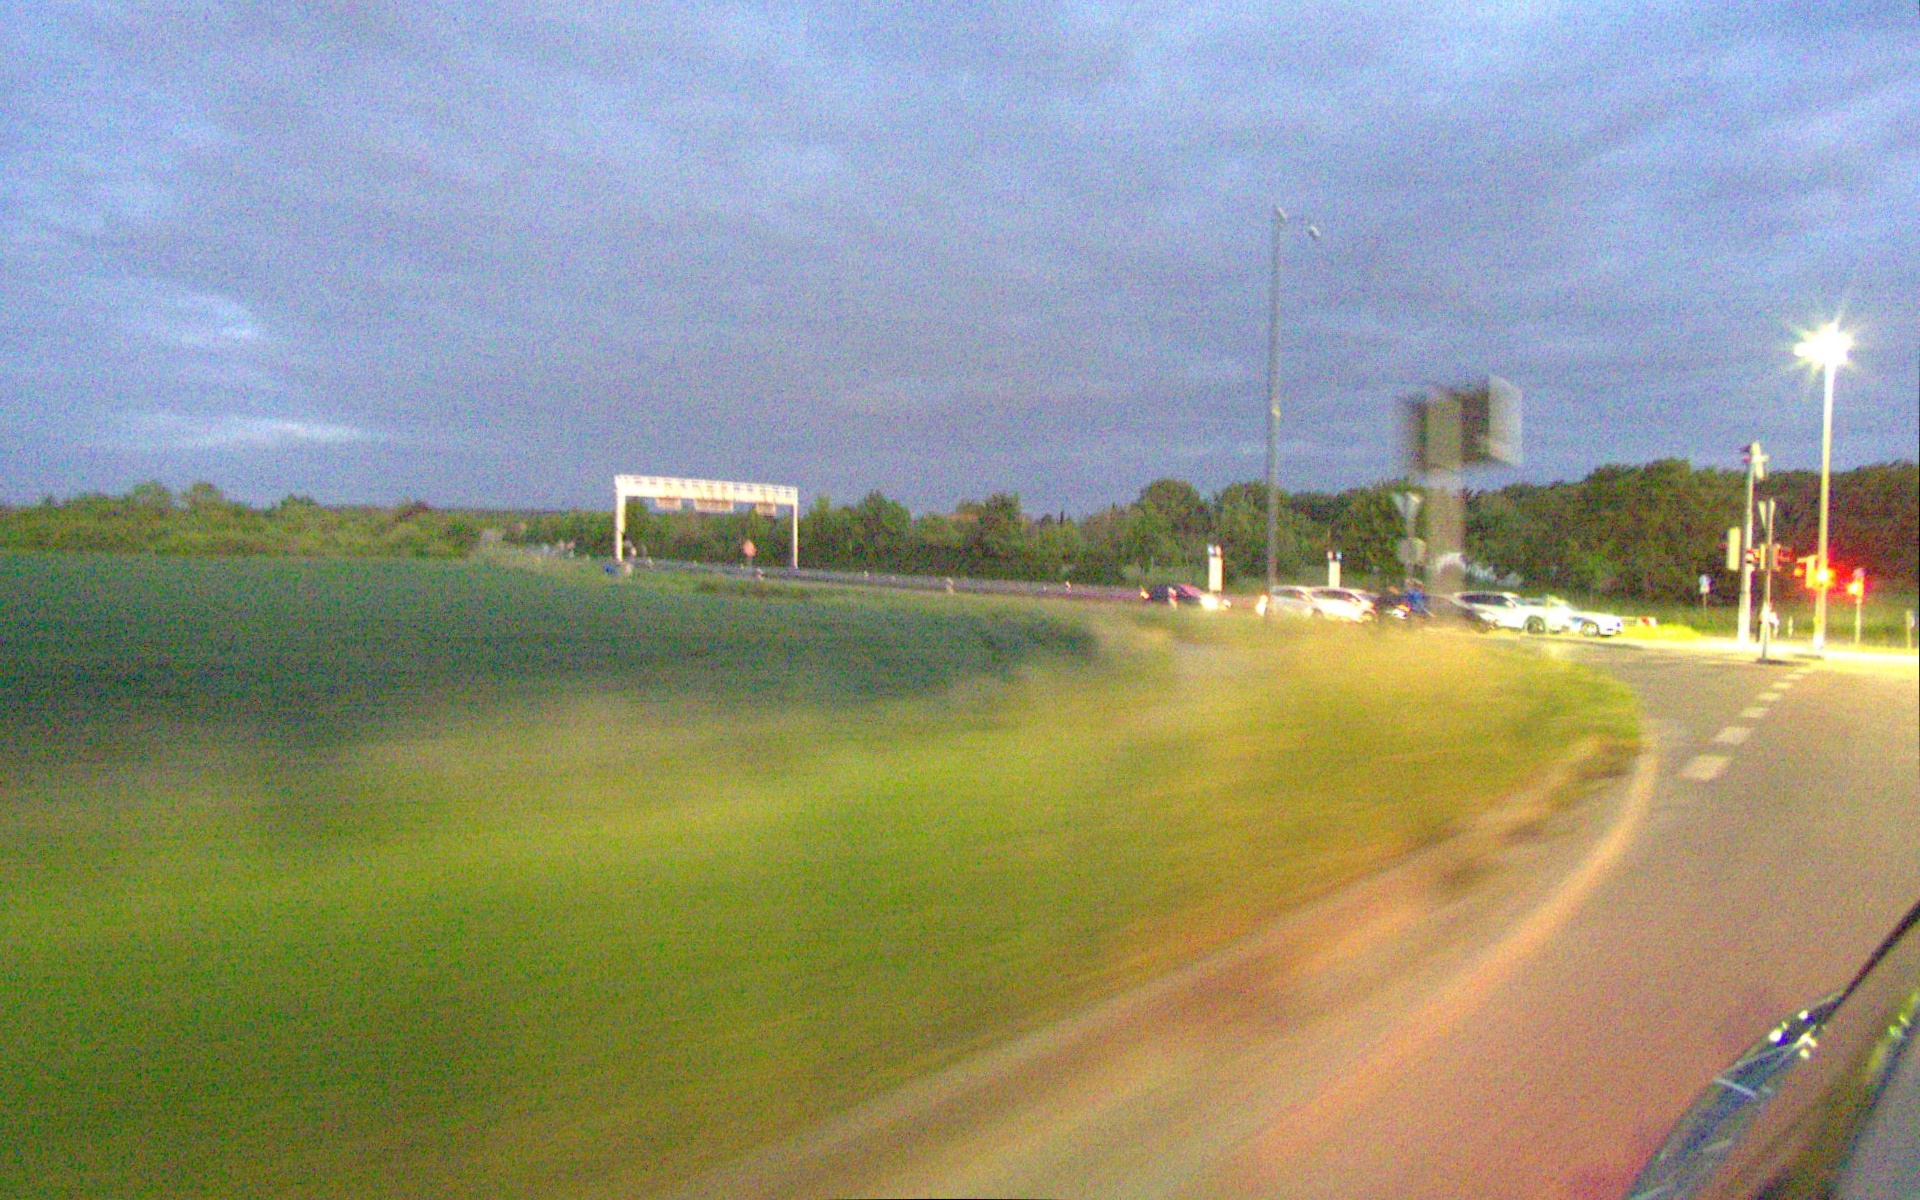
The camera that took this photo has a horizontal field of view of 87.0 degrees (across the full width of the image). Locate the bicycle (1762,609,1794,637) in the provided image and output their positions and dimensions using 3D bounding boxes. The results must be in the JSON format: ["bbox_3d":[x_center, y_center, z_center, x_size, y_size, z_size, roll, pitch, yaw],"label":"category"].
[{"bbox_3d":[33.290,0.938,41.170,2.032,1.115,0.694,1,0,-42],"label":"bicycle"}]

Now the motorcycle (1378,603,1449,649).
[{"bbox_3d":[11.377,0.666,25.442,1.560,1.046,0.717,-3,1,24],"label":"motorcycle"}]

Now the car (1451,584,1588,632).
[{"bbox_3d":[22.407,0.290,40.688,1.878,1.703,4.421,2,1,-35],"label":"car"}]

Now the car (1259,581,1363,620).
[{"bbox_3d":[15.380,-0.017,44.514,1.803,1.543,4.000,1,2,-36],"label":"car"}]

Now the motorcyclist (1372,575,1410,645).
[{"bbox_3d":[11.279,0.252,26.493,0.779,1.781,0.680,-2,1,18],"label":"motorcyclist"}]

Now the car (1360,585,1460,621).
[{"bbox_3d":[21.091,0.109,47.569,1.745,1.499,3.911,2,1,-35],"label":"car"}]

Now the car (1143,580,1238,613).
[{"bbox_3d":[11.229,-0.194,49.526,1.803,1.407,4.397,1,2,-36],"label":"car"}]

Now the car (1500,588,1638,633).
[{"bbox_3d":[25.518,0.417,42.569,1.823,1.653,4.585,2,1,-36],"label":"car"}]

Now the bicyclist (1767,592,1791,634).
[{"bbox_3d":[33.275,0.518,41.109,0.983,1.672,0.603,2,0,-42],"label":"bicyclist"}]

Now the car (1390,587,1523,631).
[{"bbox_3d":[19.213,0.327,39.321,1.752,1.464,4.292,2,1,-34],"label":"car"}]

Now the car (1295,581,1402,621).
[{"bbox_3d":[17.947,0.031,46.916,1.718,1.647,4.364,2,1,-35],"label":"car"}]

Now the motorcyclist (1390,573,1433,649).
[{"bbox_3d":[11.316,0.272,25.389,0.861,1.831,0.910,-3,1,24],"label":"motorcyclist"}]

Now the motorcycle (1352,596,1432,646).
[{"bbox_3d":[11.293,0.552,26.505,1.797,1.196,0.845,-2,1,19],"label":"motorcycle"}]
